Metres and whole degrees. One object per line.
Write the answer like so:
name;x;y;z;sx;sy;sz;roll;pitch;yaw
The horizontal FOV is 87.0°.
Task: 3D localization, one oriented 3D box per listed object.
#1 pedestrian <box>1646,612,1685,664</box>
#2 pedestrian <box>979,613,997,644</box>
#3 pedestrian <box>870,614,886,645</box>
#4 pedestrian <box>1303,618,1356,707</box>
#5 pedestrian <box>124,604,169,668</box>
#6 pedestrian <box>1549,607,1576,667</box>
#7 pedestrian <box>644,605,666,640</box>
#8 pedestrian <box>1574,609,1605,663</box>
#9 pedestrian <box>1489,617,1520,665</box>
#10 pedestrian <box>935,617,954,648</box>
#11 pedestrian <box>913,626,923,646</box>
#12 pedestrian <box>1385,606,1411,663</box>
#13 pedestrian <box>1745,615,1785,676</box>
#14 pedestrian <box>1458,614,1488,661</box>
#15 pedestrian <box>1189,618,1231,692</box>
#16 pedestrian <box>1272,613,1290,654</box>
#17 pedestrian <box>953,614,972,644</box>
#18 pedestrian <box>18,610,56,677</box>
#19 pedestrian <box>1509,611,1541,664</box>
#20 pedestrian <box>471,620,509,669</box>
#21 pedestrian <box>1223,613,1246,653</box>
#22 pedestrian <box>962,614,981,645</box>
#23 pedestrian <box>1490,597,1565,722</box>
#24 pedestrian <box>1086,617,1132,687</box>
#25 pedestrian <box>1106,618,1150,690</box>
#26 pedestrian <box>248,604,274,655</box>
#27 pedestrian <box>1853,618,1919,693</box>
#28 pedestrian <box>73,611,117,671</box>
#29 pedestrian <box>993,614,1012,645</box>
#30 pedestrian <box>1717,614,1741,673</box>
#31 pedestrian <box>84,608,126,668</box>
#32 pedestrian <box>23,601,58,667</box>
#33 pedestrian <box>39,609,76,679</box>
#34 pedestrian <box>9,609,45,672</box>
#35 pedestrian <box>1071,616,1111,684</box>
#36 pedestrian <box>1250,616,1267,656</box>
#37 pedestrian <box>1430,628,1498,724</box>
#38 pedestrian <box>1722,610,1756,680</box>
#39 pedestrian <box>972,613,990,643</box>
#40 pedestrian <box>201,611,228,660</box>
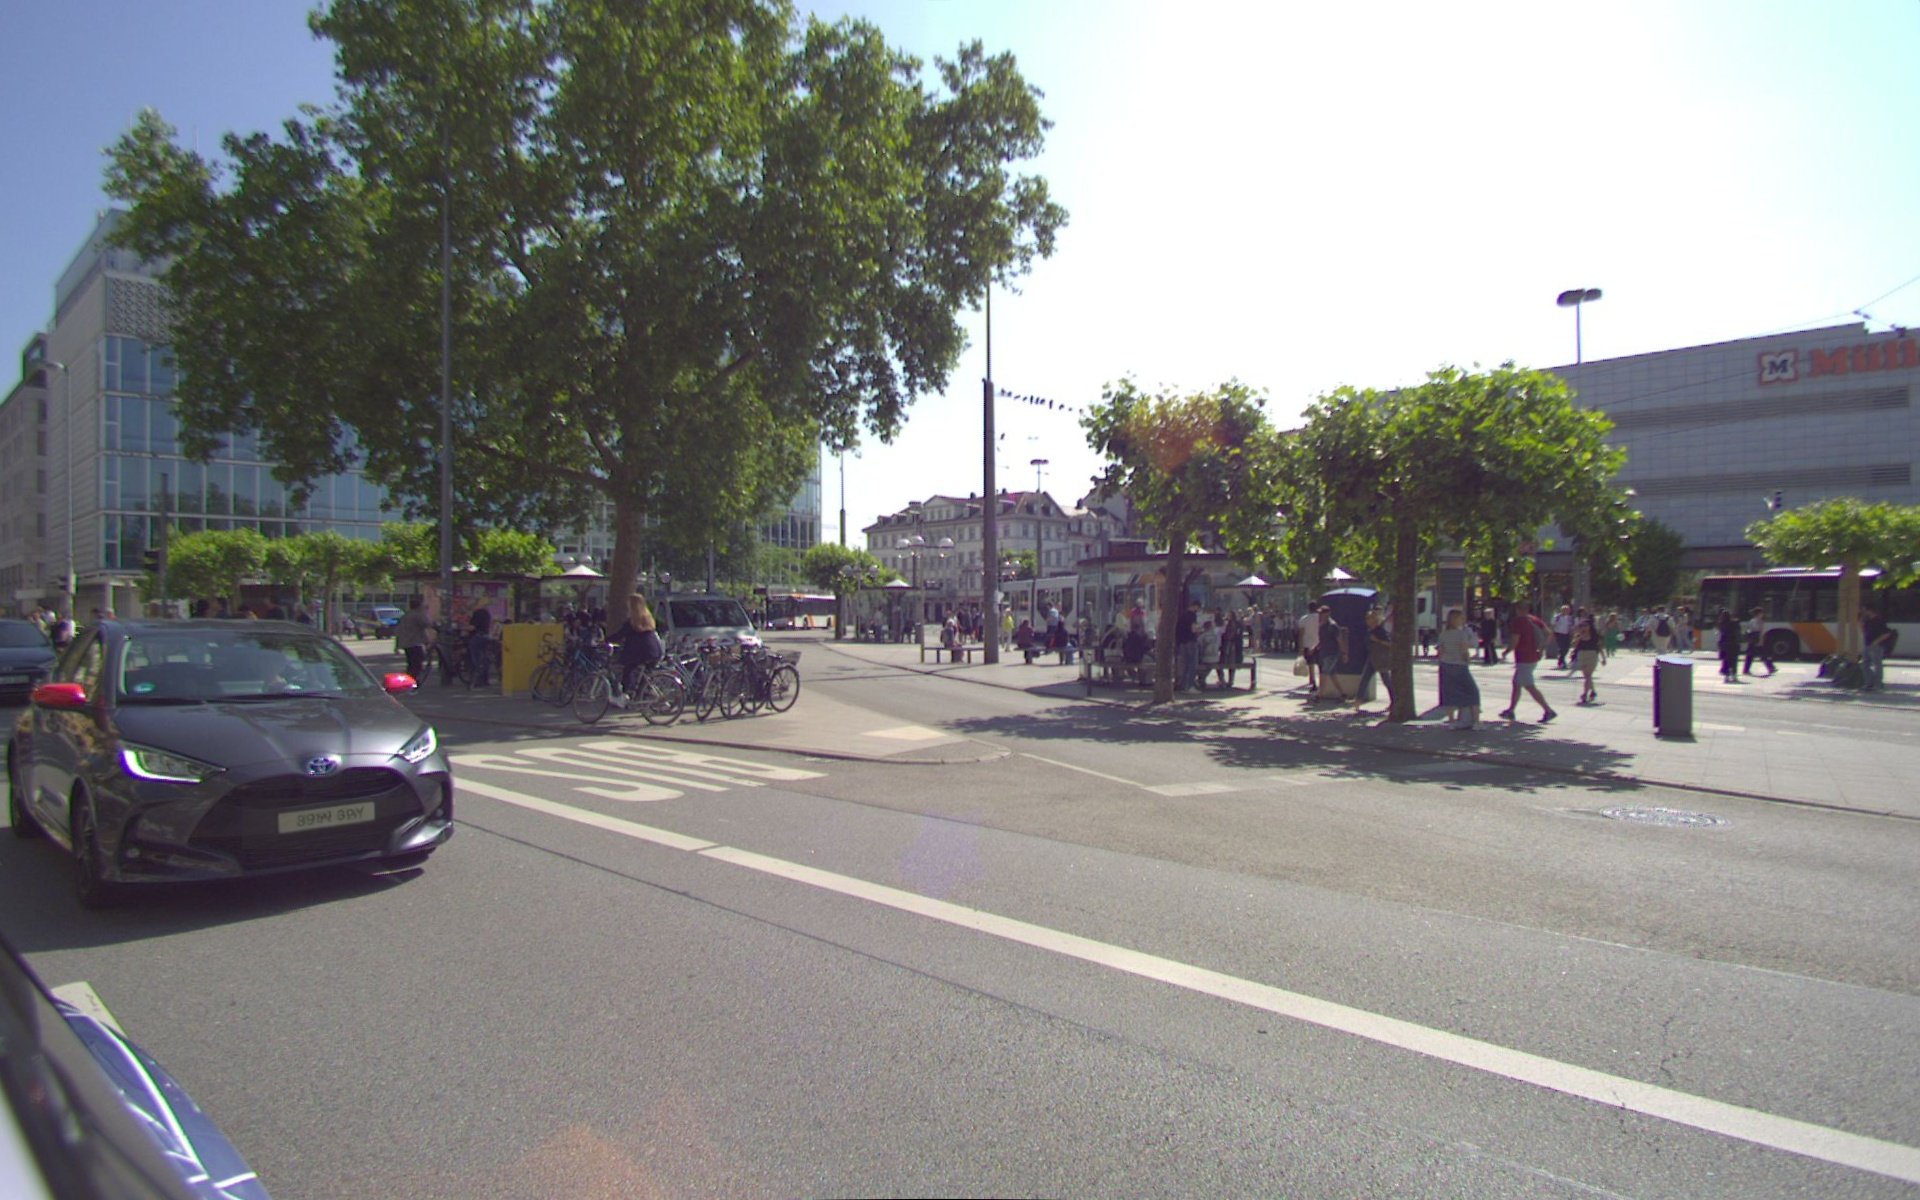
pedestrian;20.272;1.093;29.103;0.672;1.477;0.623;0;-3;7
pedestrian;1.399;1.426;50.409;0.555;1.483;0.748;-1;1;40
pedestrian;-3.980;1.421;48.947;0.547;1.483;0.533;-2;1;-42
pedestrian;6.292;1.058;17.240;0.680;1.477;0.616;-2;-4;41
pedestrian;-23.346;1.021;29.054;0.882;1.760;0.715;-1;1;31
pedestrian;16.840;1.038;28.290;0.518;1.678;0.469;0;-3;19
pedestrian;-15.737;1.149;52.235;0.780;1.760;0.744;-1;1;31
pedestrian;17.404;1.011;27.981;0.549;1.477;0.621;0;-3;18
pedestrian;17.157;1.297;31.895;0.615;1.477;0.681;4;-5;-44
pedestrian;-0.779;1.569;49.645;0.555;1.483;0.748;-1;1;40
pedestrian;-2.037;1.738;48.882;0.333;0.970;0.328;-1;1;22
pedestrian;14.093;1.118;32.573;0.675;1.809;0.621;0;-3;19
pedestrian;19.824;1.122;24.927;0.585;1.477;0.522;-1;-4;21
pedestrian;16.347;1.201;32.254;0.615;1.477;0.681;4;-5;-44
pedestrian;5.073;1.111;20.581;0.670;1.477;0.625;1;-3;-3
pedestrian;12.383;1.301;39.050;0.573;1.561;0.677;0;-3;14
pedestrian;0.136;1.464;50.893;0.555;1.483;0.748;-1;1;40
pedestrian;-25.098;1.173;27.530;0.732;1.760;0.631;-1;1;39
pedestrian;16.349;1.084;29.276;0.675;1.513;0.621;0;-3;19
pedestrian;-12.545;1.175;27.015;0.612;1.251;0.666;-1;1;26
pedestrian;10.762;1.291;39.712;0.568;1.561;0.683;2;-4;-23
pedestrian;0.564;1.461;50.409;0.555;1.483;0.748;-1;1;40
pedestrian;8.240;0.863;14.714;0.614;1.759;0.682;2;-3;-15
pedestrian;3.205;1.125;21.817;0.716;1.477;0.682;2;-4;-28
pedestrian;3.521;1.133;21.257;0.614;1.477;0.682;2;-4;-28
pedestrian;-25.024;1.038;36.214;0.721;1.760;0.641;-2;1;-36
pedestrian;18.079;1.079;19.764;0.617;1.429;0.680;0;-3;3
pedestrian;-26.281;1.236;30.749;0.732;1.760;0.865;-1;1;39
pedestrian;2.069;1.438;49.456;0.555;1.483;0.748;-1;1;40
pedestrian;19.512;1.096;25.671;0.414;1.477;0.401;-2;-4;33
pedestrian;-25.538;1.125;30.228;0.730;1.760;0.743;-1;1;31
pedestrian;-27.380;1.002;30.131;0.860;1.934;0.631;-1;1;39
pedestrian;-22.936;1.102;25.708;0.651;1.726;0.568;-1;1;39
pedestrian;-27.068;1.161;29.358;0.732;1.760;0.631;-1;1;39
pedestrian;2.921;1.097;22.602;0.614;1.476;0.682;0;-1;-29
pedestrian;11.536;1.398;39.135;0.573;1.561;0.677;0;-3;14
pedestrian;6.720;1.000;13.512;0.568;1.243;0.555;0;-1;-15
pedestrian;17.835;1.037;23.170;0.530;1.565;0.592;-2;-5;43
pedestrian;1.085;1.424;51.731;0.555;1.483;0.748;-1;1;40
pedestrian;-25.968;1.225;35.252;0.721;1.682;0.641;-2;1;-36
